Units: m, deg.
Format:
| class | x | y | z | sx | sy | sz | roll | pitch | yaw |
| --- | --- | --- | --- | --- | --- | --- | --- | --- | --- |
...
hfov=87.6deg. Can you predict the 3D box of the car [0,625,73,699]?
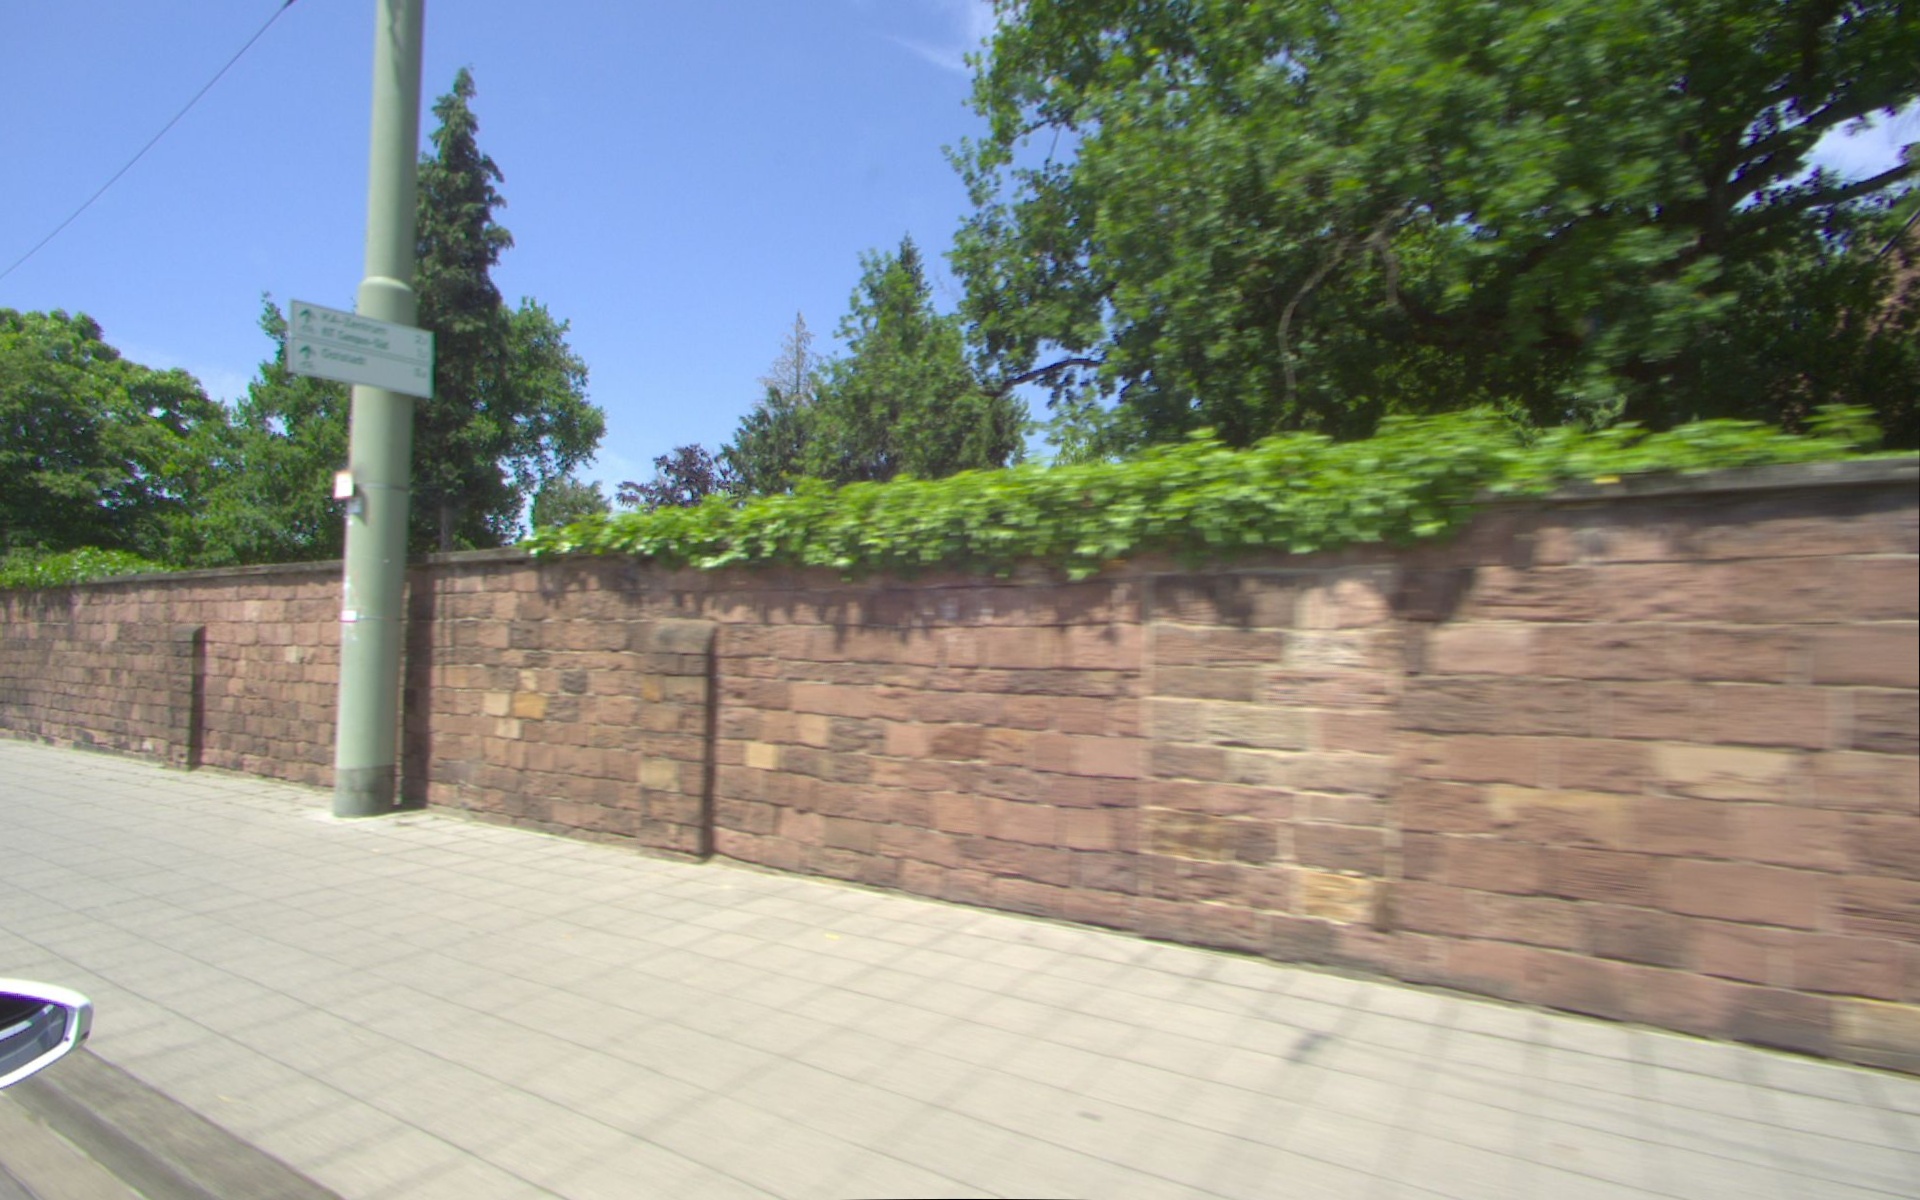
| class | x | y | z | sx | sy | sz | roll | pitch | yaw |
| --- | --- | --- | --- | --- | --- | --- | --- | --- | --- |
| car | -20.599 | 1.305 | 21.486 | 2.901 | 1.500 | 1.480 | 0 | -3 | 31 |
